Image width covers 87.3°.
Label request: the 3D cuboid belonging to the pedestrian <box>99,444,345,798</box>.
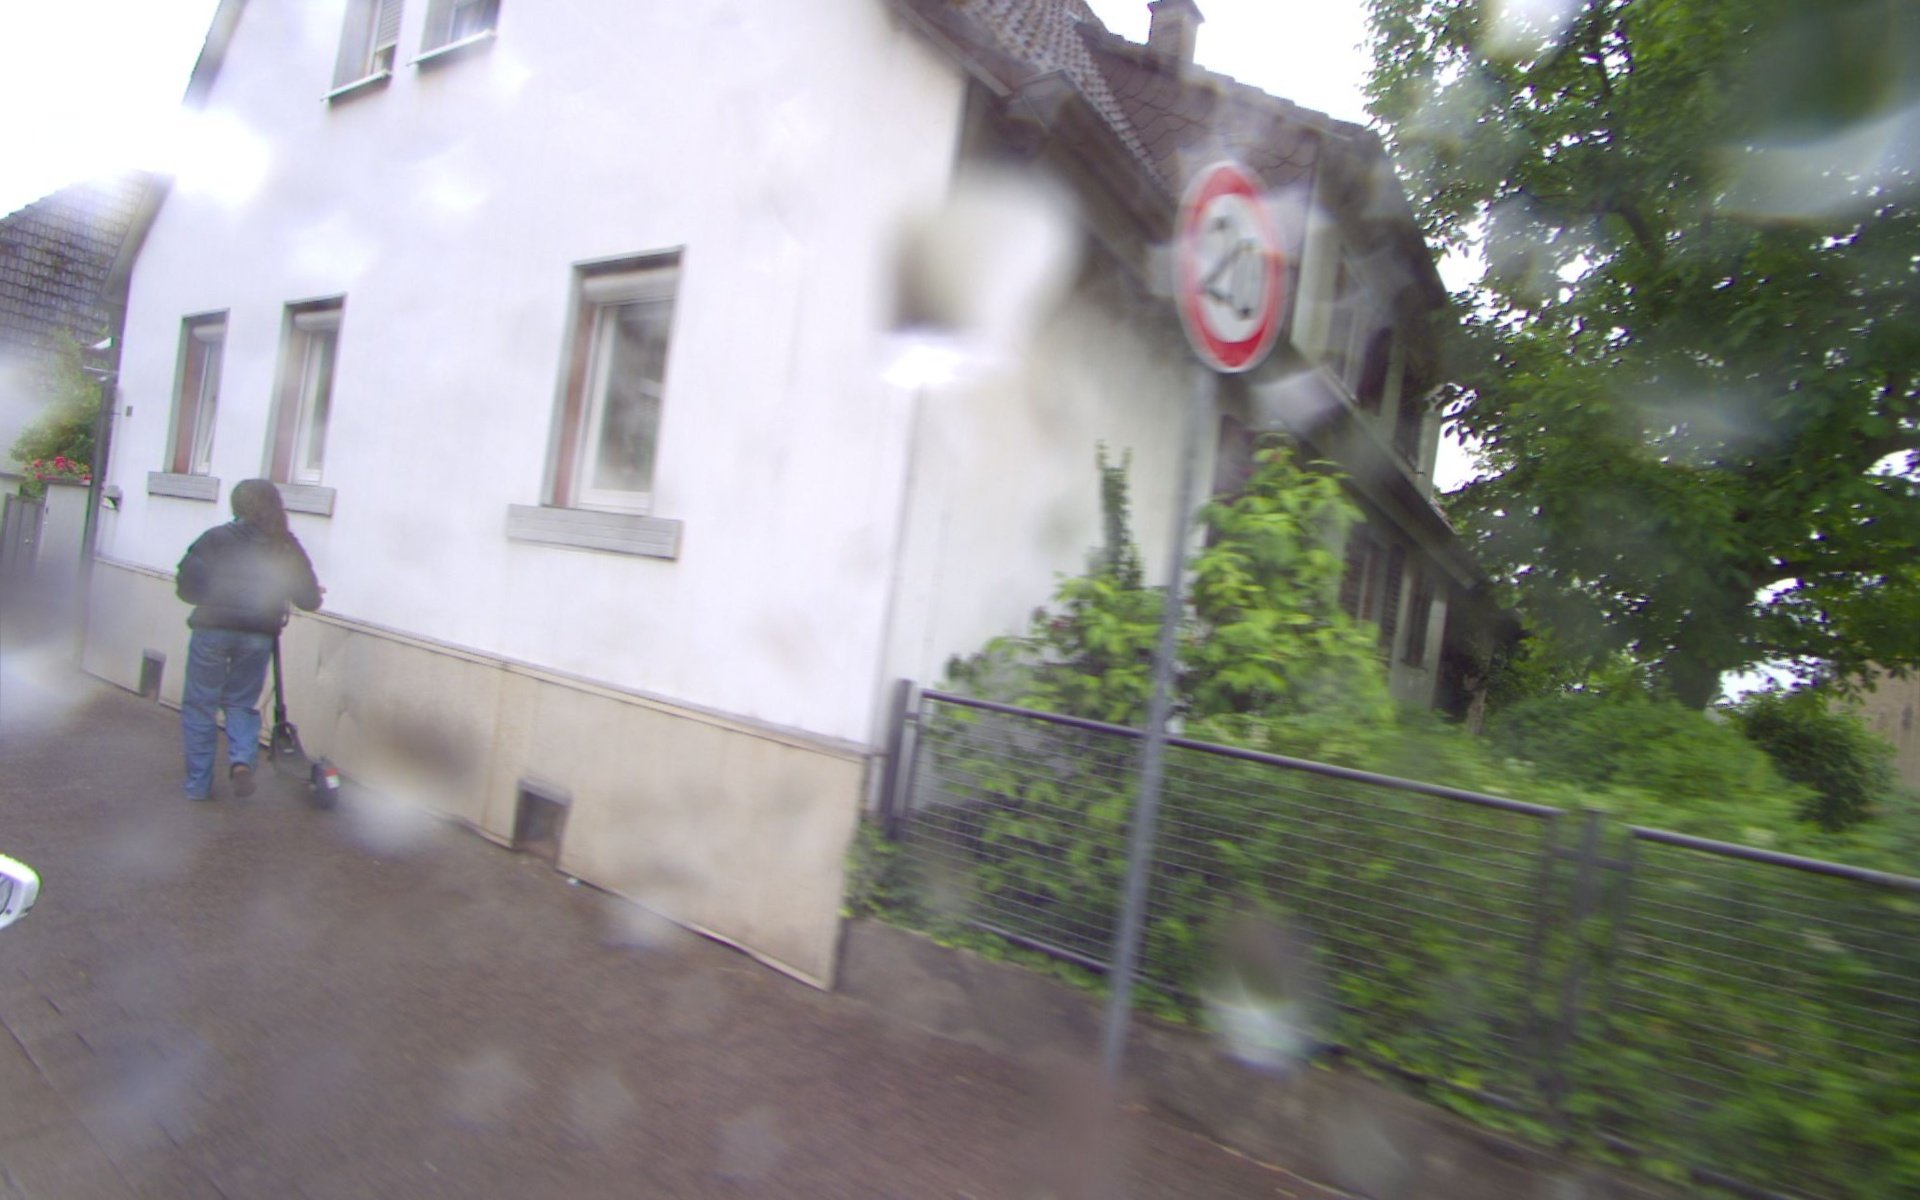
[{"bbox_3d":[-4.004,0.101,5.465,0.808,1.753,0.695,7,-1,35],"label":"pedestrian"}]

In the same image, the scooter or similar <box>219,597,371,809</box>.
[{"bbox_3d":[-3.825,0.558,5.763,1.083,1.040,0.245,7,-1,35],"label":"scooter or similar"}]
